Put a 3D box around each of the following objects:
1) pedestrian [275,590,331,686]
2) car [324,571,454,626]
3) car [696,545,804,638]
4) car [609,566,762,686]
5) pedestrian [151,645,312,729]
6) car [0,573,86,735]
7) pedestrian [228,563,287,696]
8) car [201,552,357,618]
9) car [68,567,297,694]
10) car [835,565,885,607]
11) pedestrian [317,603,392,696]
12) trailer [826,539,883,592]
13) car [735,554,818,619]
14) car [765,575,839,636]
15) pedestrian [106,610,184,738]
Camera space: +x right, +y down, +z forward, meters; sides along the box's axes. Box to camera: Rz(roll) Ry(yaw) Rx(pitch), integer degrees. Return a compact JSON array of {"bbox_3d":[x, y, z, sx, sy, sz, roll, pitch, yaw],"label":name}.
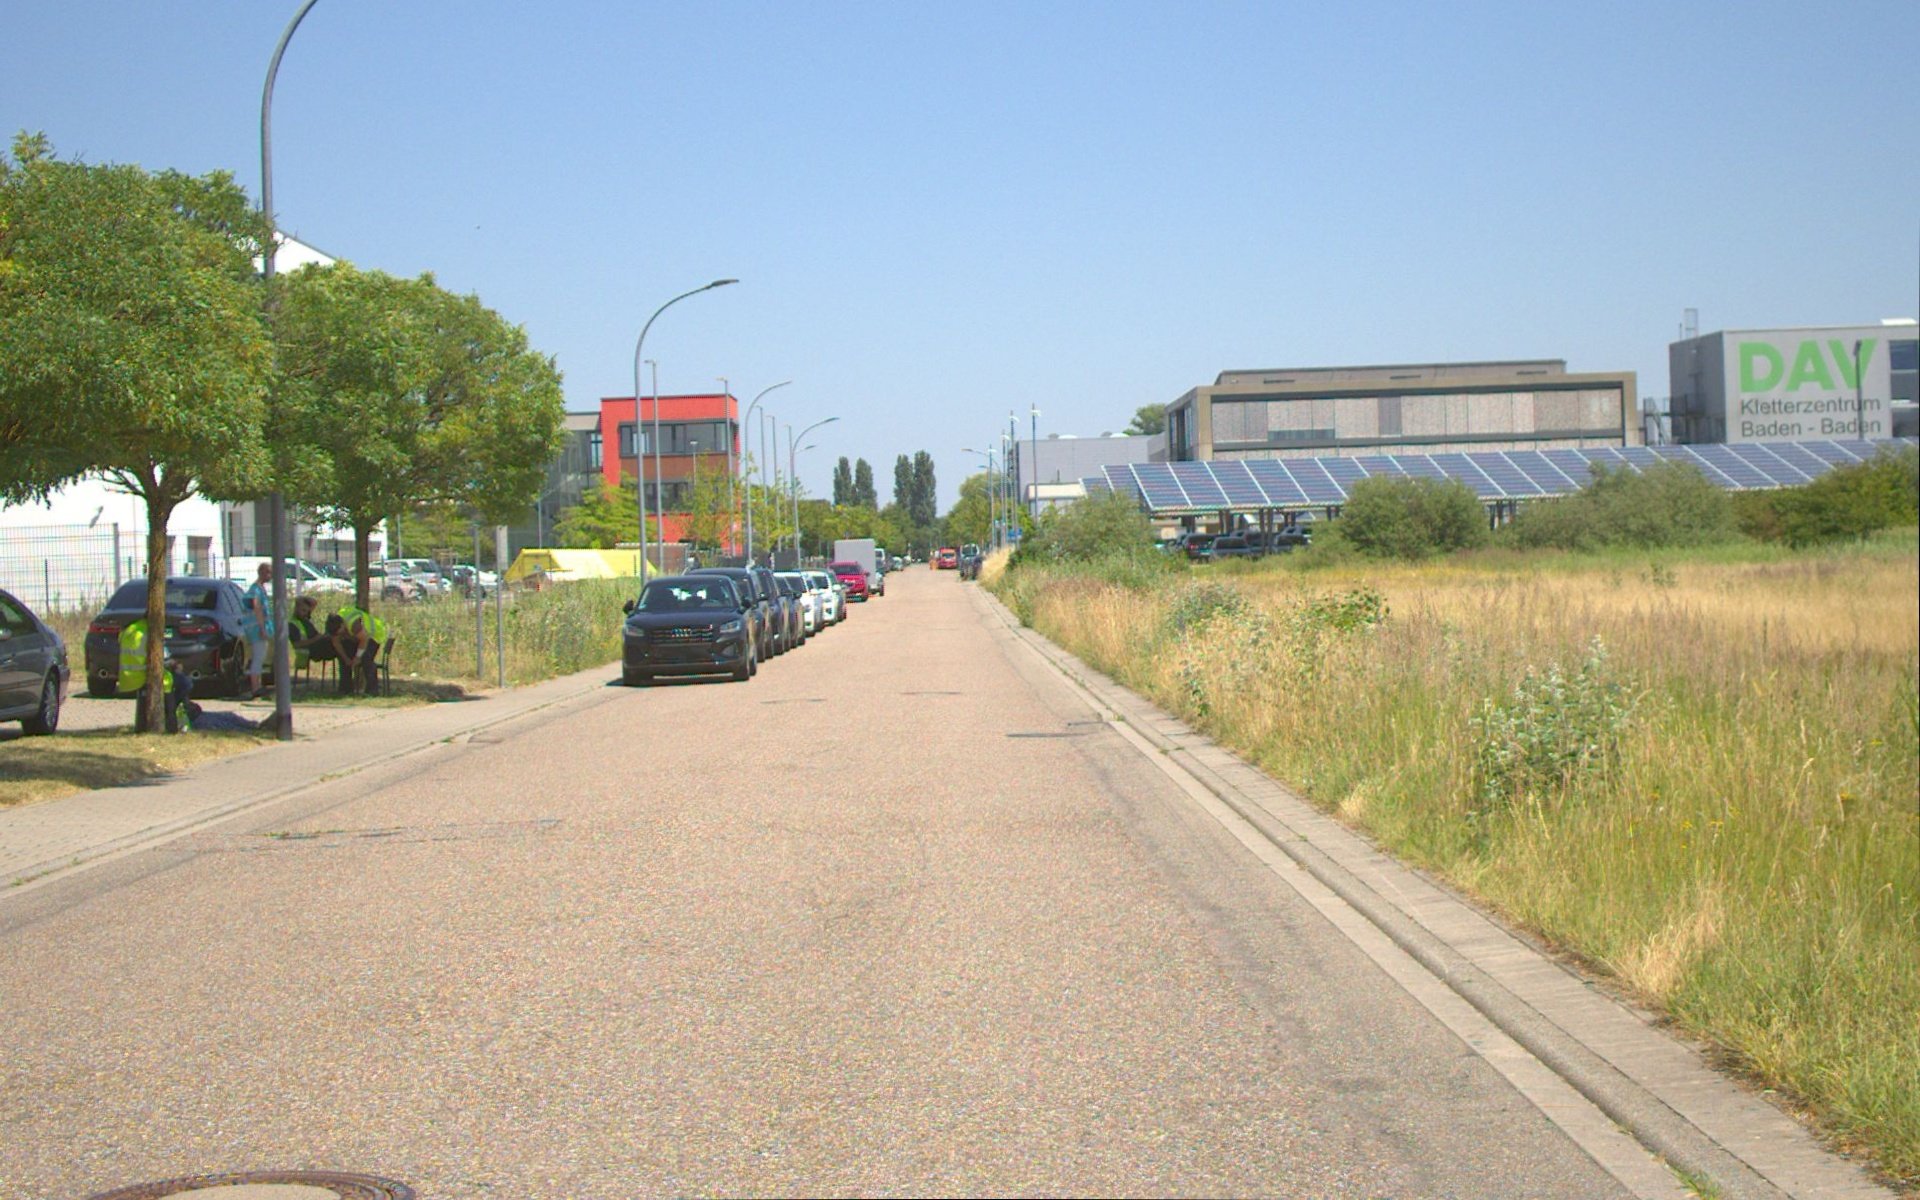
[{"bbox_3d":[-8.272,0.472,43.304,0.506,1.187,0.753,1,0,2],"label":"pedestrian"},{"bbox_3d":[-21.709,-0.063,130.741,4.528,1.936,2.031,-2,0,0],"label":"car"},{"bbox_3d":[-3.983,-0.193,65.912,1.768,1.657,4.552,-2,1,0],"label":"car"},{"bbox_3d":[-3.911,0.340,49.600,1.926,1.562,4.190,-2,1,-1],"label":"car"},{"bbox_3d":[-6.991,0.831,33.016,1.358,0.746,0.753,1,0,2],"label":"pedestrian"},{"bbox_3d":[-9.480,0.515,30.931,1.927,1.436,4.841,-2,-1,0],"label":"car"},{"bbox_3d":[-8.515,0.350,41.688,0.506,1.590,0.753,1,0,2],"label":"pedestrian"},{"bbox_3d":[-21.849,-0.486,110.428,4.528,1.936,2.031,-2,0,0],"label":"car"},{"bbox_3d":[-9.744,0.344,43.436,1.926,1.459,4.692,1,1,-2],"label":"car"},{"bbox_3d":[-3.818,-0.543,132.069,1.787,1.515,3.982,-2,1,0],"label":"car"},{"bbox_3d":[-7.378,0.597,41.926,0.750,1.095,0.646,1,0,4],"label":"pedestrian"},{"bbox_3d":[-4.386,-1.440,143.637,2.201,2.130,4.286,-2,0,0],"label":"trailer"},{"bbox_3d":[-4.365,-0.341,82.214,1.787,1.515,3.983,-1,1,0],"label":"car"},{"bbox_3d":[-4.271,0.135,93.361,1.787,1.515,3.983,-2,1,0],"label":"car"},{"bbox_3d":[-7.493,0.683,31.635,0.479,1.146,0.555,1,-2,10],"label":"pedestrian"}]
